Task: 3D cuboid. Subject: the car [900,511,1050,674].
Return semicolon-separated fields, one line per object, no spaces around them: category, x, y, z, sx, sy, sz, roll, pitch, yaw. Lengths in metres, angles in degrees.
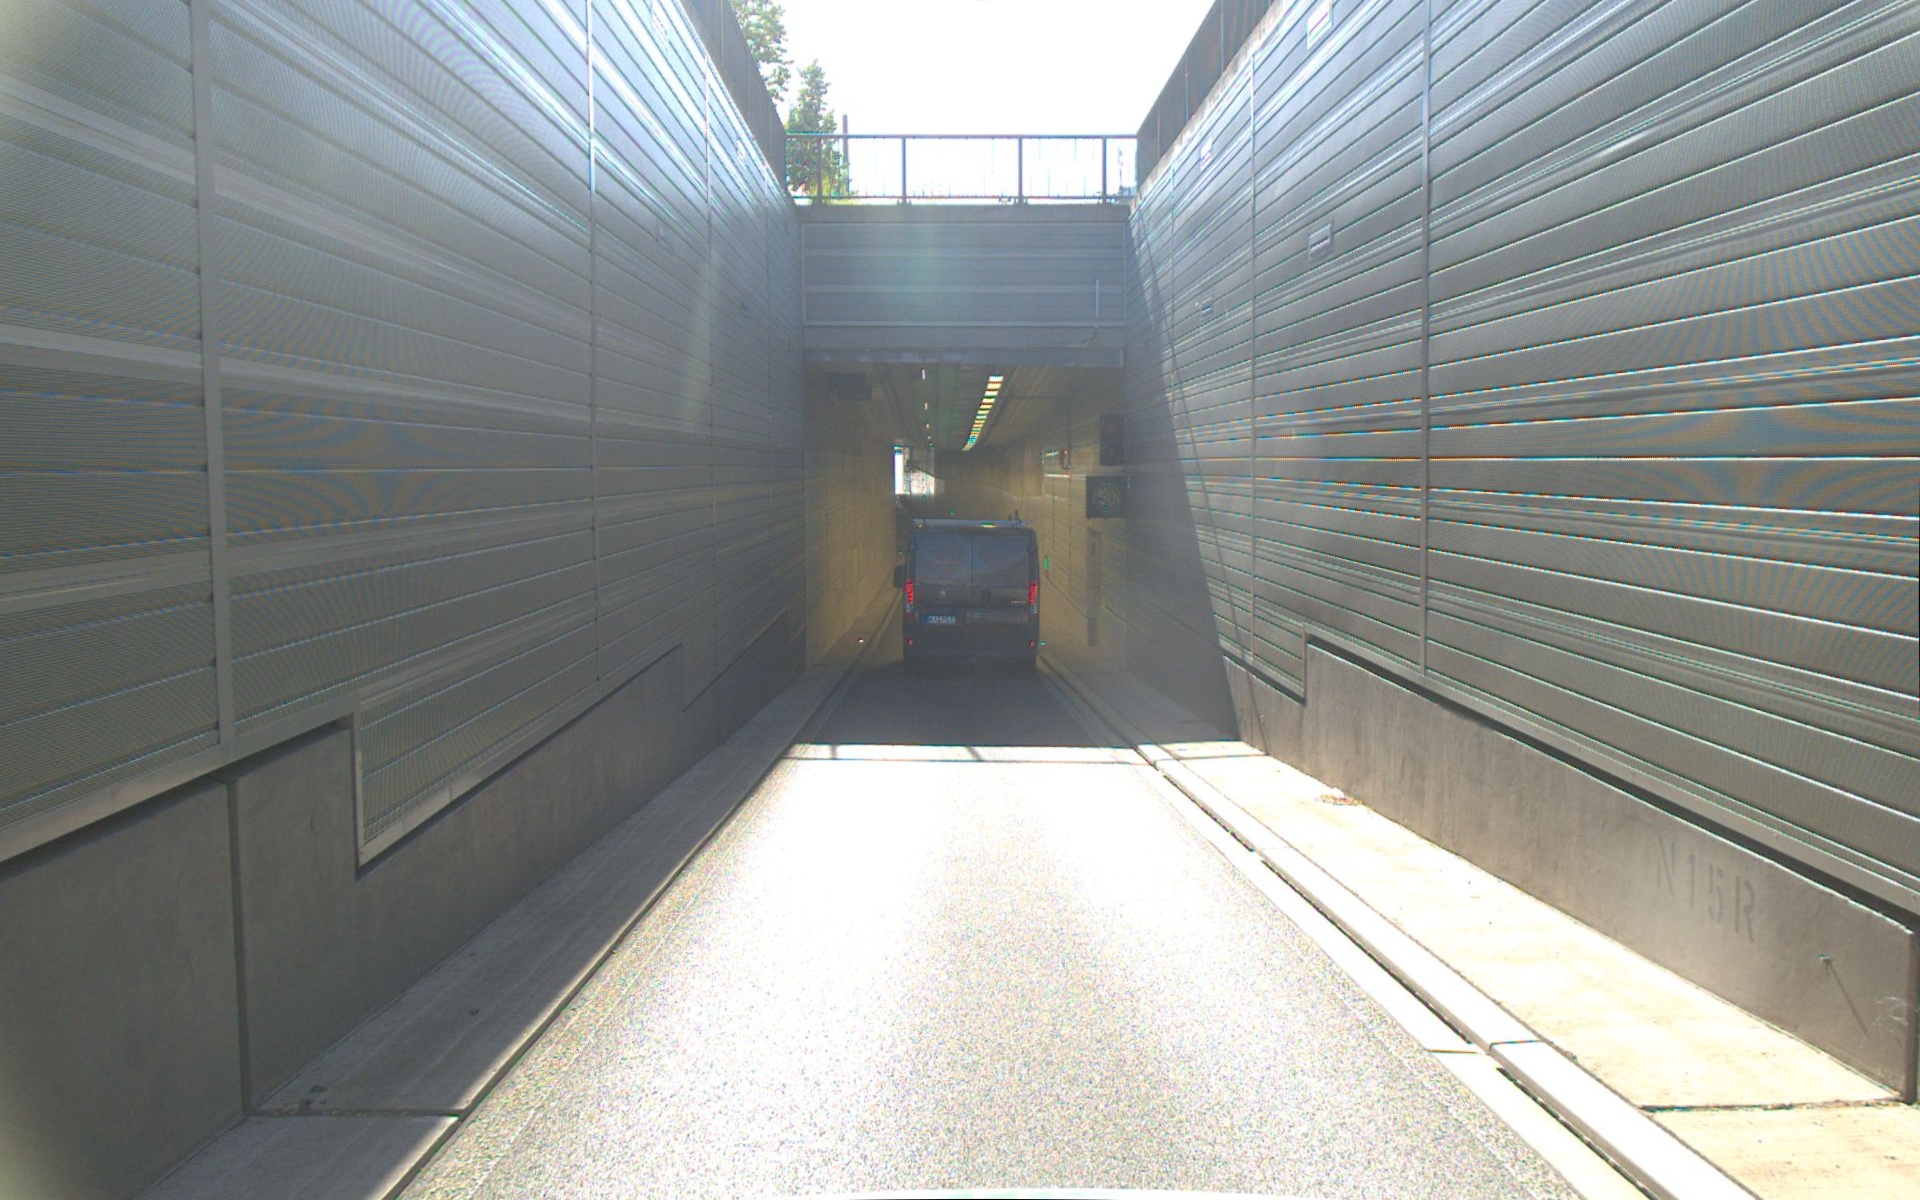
car;0.196;-0.168;25.791;2.114;2.305;4.637;0;1;0
